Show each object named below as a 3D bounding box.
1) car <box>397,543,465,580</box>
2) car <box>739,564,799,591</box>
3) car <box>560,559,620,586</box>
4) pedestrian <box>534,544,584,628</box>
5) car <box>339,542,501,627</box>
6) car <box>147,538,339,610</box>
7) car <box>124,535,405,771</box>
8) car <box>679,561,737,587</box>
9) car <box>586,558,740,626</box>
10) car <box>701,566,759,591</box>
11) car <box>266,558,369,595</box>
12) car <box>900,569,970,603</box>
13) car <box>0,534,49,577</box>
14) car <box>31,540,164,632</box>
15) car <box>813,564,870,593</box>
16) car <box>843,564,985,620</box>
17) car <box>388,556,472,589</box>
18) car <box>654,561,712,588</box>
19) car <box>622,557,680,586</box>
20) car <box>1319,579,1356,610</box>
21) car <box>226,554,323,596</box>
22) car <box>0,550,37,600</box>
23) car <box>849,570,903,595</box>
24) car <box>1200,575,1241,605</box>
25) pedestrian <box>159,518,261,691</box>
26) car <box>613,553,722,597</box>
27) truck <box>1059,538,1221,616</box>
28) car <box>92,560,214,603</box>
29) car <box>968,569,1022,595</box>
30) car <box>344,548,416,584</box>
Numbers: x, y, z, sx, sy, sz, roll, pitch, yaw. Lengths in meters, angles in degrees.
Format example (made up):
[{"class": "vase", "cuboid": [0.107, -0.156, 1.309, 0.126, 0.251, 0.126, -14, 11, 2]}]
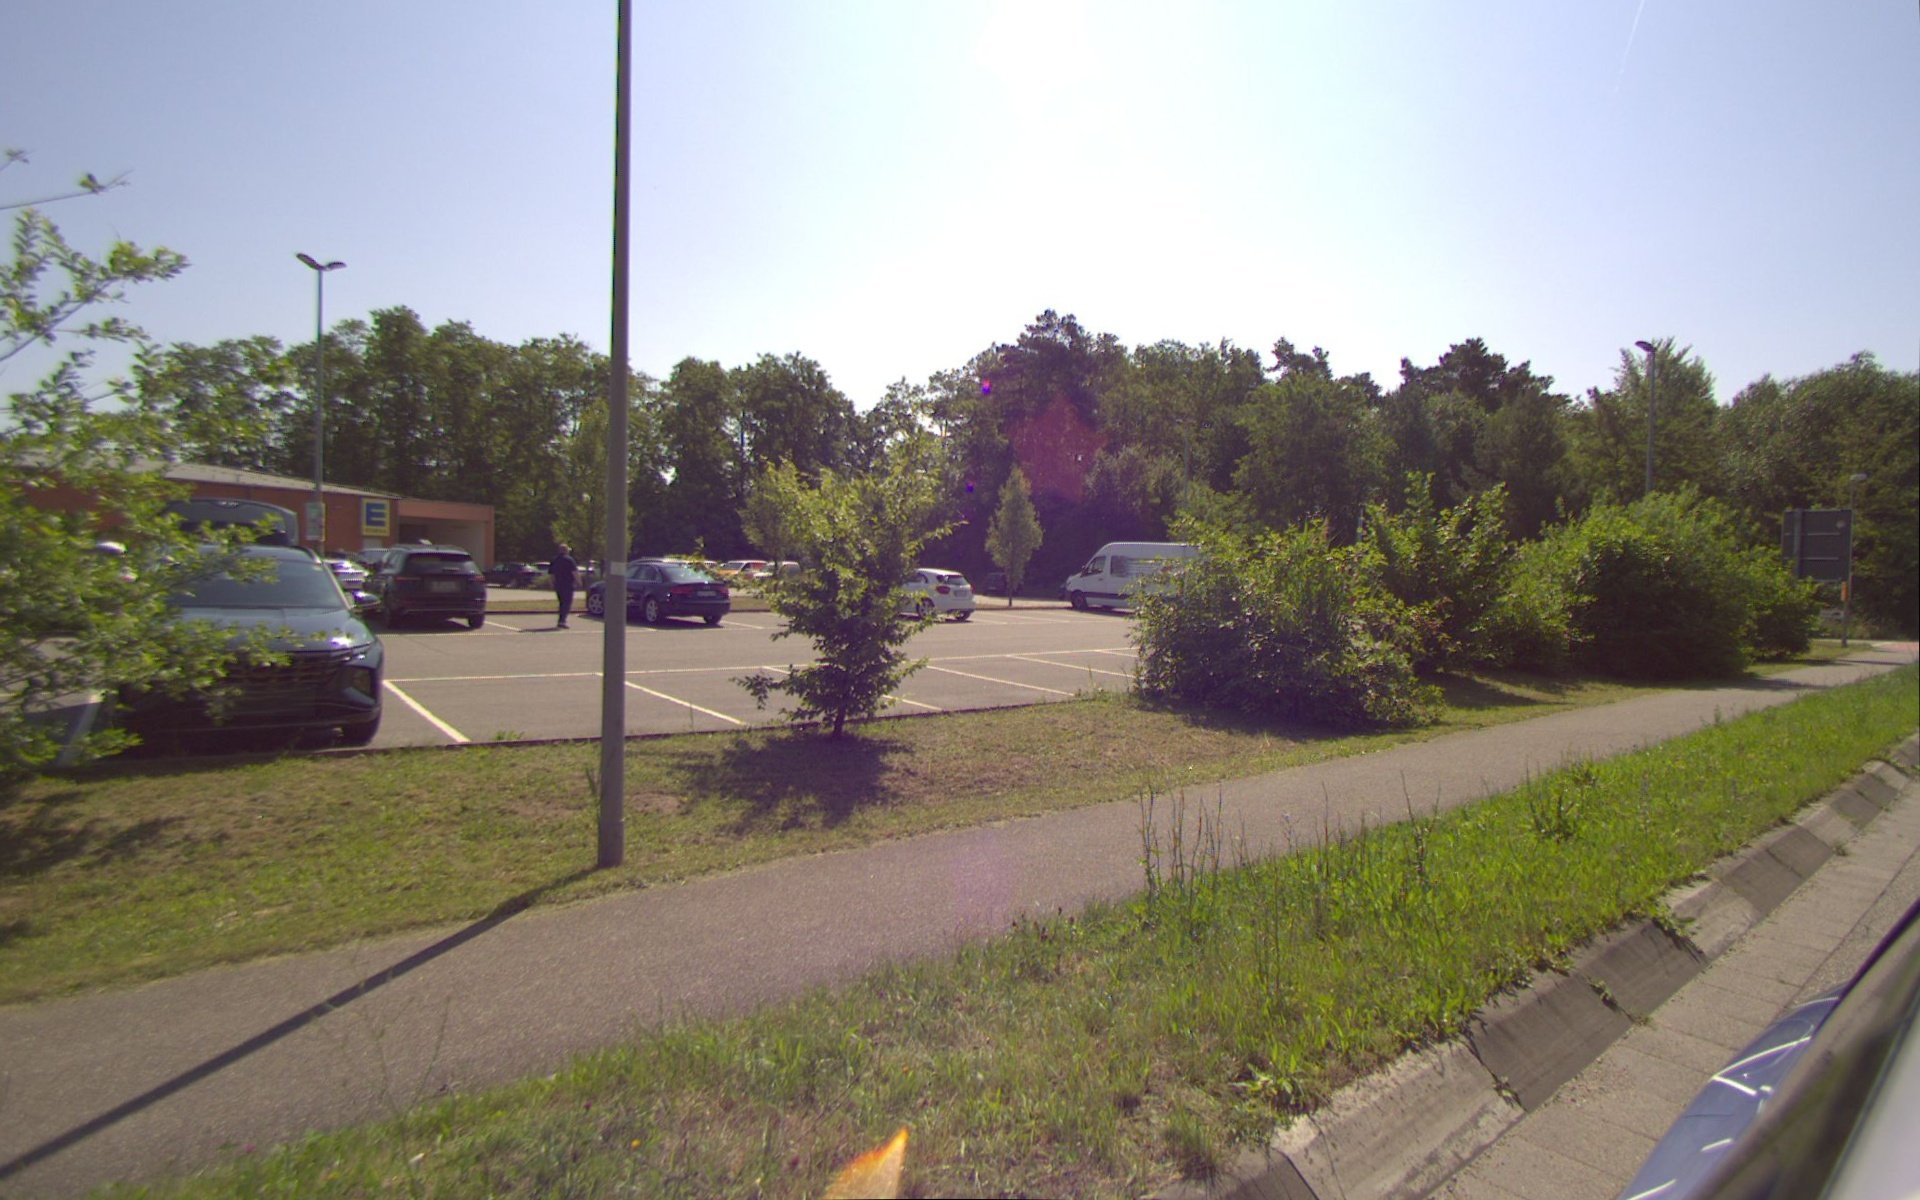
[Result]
[{"class": "car", "cuboid": [-34.423, -2.489, 65.846, 3.984, 2.275, 1.982, 2, 1, 26]}, {"class": "car", "cuboid": [-12.798, -1.517, 68.013, 2.048, 1.732, 3.970, 2, 2, 23]}, {"class": "car", "cuboid": [-27.026, -2.015, 74.085, 1.921, 1.822, 3.970, 2, 2, 23]}, {"class": "pedestrian", "cuboid": [-8.464, -0.299, 21.388, 0.744, 1.726, 0.712, 1, 1, 1]}, {"class": "car", "cuboid": [-11.317, -0.340, 21.094, 1.966, 1.593, 4.158, 1, 1, -43]}, {"class": "car", "cuboid": [-18.487, -0.640, 26.093, 4.508, 1.723, 1.985, 0, 0, 23]}, {"class": "car", "cuboid": [-6.517, 0.282, 9.274, 1.721, 1.647, 4.129, 1, 2, -40]}, {"class": "car", "cuboid": [-17.452, -1.791, 70.354, 1.921, 1.732, 3.970, 2, 2, 23]}, {"class": "car", "cuboid": [-7.182, -0.231, 24.286, 3.986, 1.445, 1.722, 3, 2, 43]}, {"class": "car", "cuboid": [-15.591, -1.480, 68.731, 1.775, 1.615, 4.231, 2, 2, 21]}, {"class": "car", "cuboid": [-26.549, -0.980, 41.825, 3.962, 1.415, 1.873, 2, 1, 28]}, {"class": "car", "cuboid": [-1.133, -0.706, 48.833, 1.974, 1.483, 4.468, 2, 2, 19]}, {"class": "car", "cuboid": [-42.861, -2.010, 44.883, 3.949, 1.838, 1.988, 2, 1, 19]}, {"class": "car", "cuboid": [-15.305, -0.292, 18.119, 1.620, 1.460, 3.998, 1, 2, -38]}, {"class": "car", "cuboid": [-7.744, -1.417, 66.461, 2.048, 1.732, 3.970, 2, 2, 23]}, {"class": "car", "cuboid": [-1.398, -0.274, 29.783, 3.957, 1.471, 1.877, 3, 2, 40]}, {"class": "car", "cuboid": [-27.906, -1.450, 53.278, 3.952, 1.537, 1.788, 3, 2, 21]}, {"class": "car", "cuboid": [-19.497, -1.790, 71.368, 1.921, 1.732, 3.970, 2, 2, 23]}, {"class": "car", "cuboid": [-22.098, -2.020, 72.544, 1.921, 1.998, 3.970, 2, 2, 23]}, {"class": "car", "cuboid": [20.389, -0.340, 54.581, 1.739, 1.549, 4.343, 2, 2, 21]}, {"class": "car", "cuboid": [-30.888, -1.131, 45.578, 3.956, 1.779, 1.791, 2, 2, 24]}, {"class": "car", "cuboid": [-30.523, -0.814, 30.887, 3.952, 1.504, 1.955, 2, 1, 21]}, {"class": "car", "cuboid": [-5.337, -1.153, 65.060, 1.644, 1.504, 4.340, 2, 2, 23]}, {"class": "car", "cuboid": [14.513, -0.574, 56.325, 1.739, 1.549, 3.639, 2, 2, 21]}, {"class": "pedestrian", "cuboid": [-8.328, 0.038, 11.232, 0.851, 1.820, 0.820, 1, 1, -39]}, {"class": "car", "cuboid": [-11.795, -1.020, 40.750, 3.962, 1.604, 1.952, 2, 1, 28]}, {"class": "truck", "cuboid": [6.429, -0.896, 36.750, 2.165, 2.637, 5.609, 0, 2, -41]}, {"class": "car", "cuboid": [-28.654, -0.658, 35.927, 3.964, 1.371, 1.981, 2, 2, 28]}, {"class": "car", "cuboid": [2.219, -1.121, 62.546, 2.048, 1.504, 3.970, 2, 2, 23]}, {"class": "car", "cuboid": [-35.528, -2.089, 61.994, 3.960, 2.039, 1.982, 2, 1, 26]}]
